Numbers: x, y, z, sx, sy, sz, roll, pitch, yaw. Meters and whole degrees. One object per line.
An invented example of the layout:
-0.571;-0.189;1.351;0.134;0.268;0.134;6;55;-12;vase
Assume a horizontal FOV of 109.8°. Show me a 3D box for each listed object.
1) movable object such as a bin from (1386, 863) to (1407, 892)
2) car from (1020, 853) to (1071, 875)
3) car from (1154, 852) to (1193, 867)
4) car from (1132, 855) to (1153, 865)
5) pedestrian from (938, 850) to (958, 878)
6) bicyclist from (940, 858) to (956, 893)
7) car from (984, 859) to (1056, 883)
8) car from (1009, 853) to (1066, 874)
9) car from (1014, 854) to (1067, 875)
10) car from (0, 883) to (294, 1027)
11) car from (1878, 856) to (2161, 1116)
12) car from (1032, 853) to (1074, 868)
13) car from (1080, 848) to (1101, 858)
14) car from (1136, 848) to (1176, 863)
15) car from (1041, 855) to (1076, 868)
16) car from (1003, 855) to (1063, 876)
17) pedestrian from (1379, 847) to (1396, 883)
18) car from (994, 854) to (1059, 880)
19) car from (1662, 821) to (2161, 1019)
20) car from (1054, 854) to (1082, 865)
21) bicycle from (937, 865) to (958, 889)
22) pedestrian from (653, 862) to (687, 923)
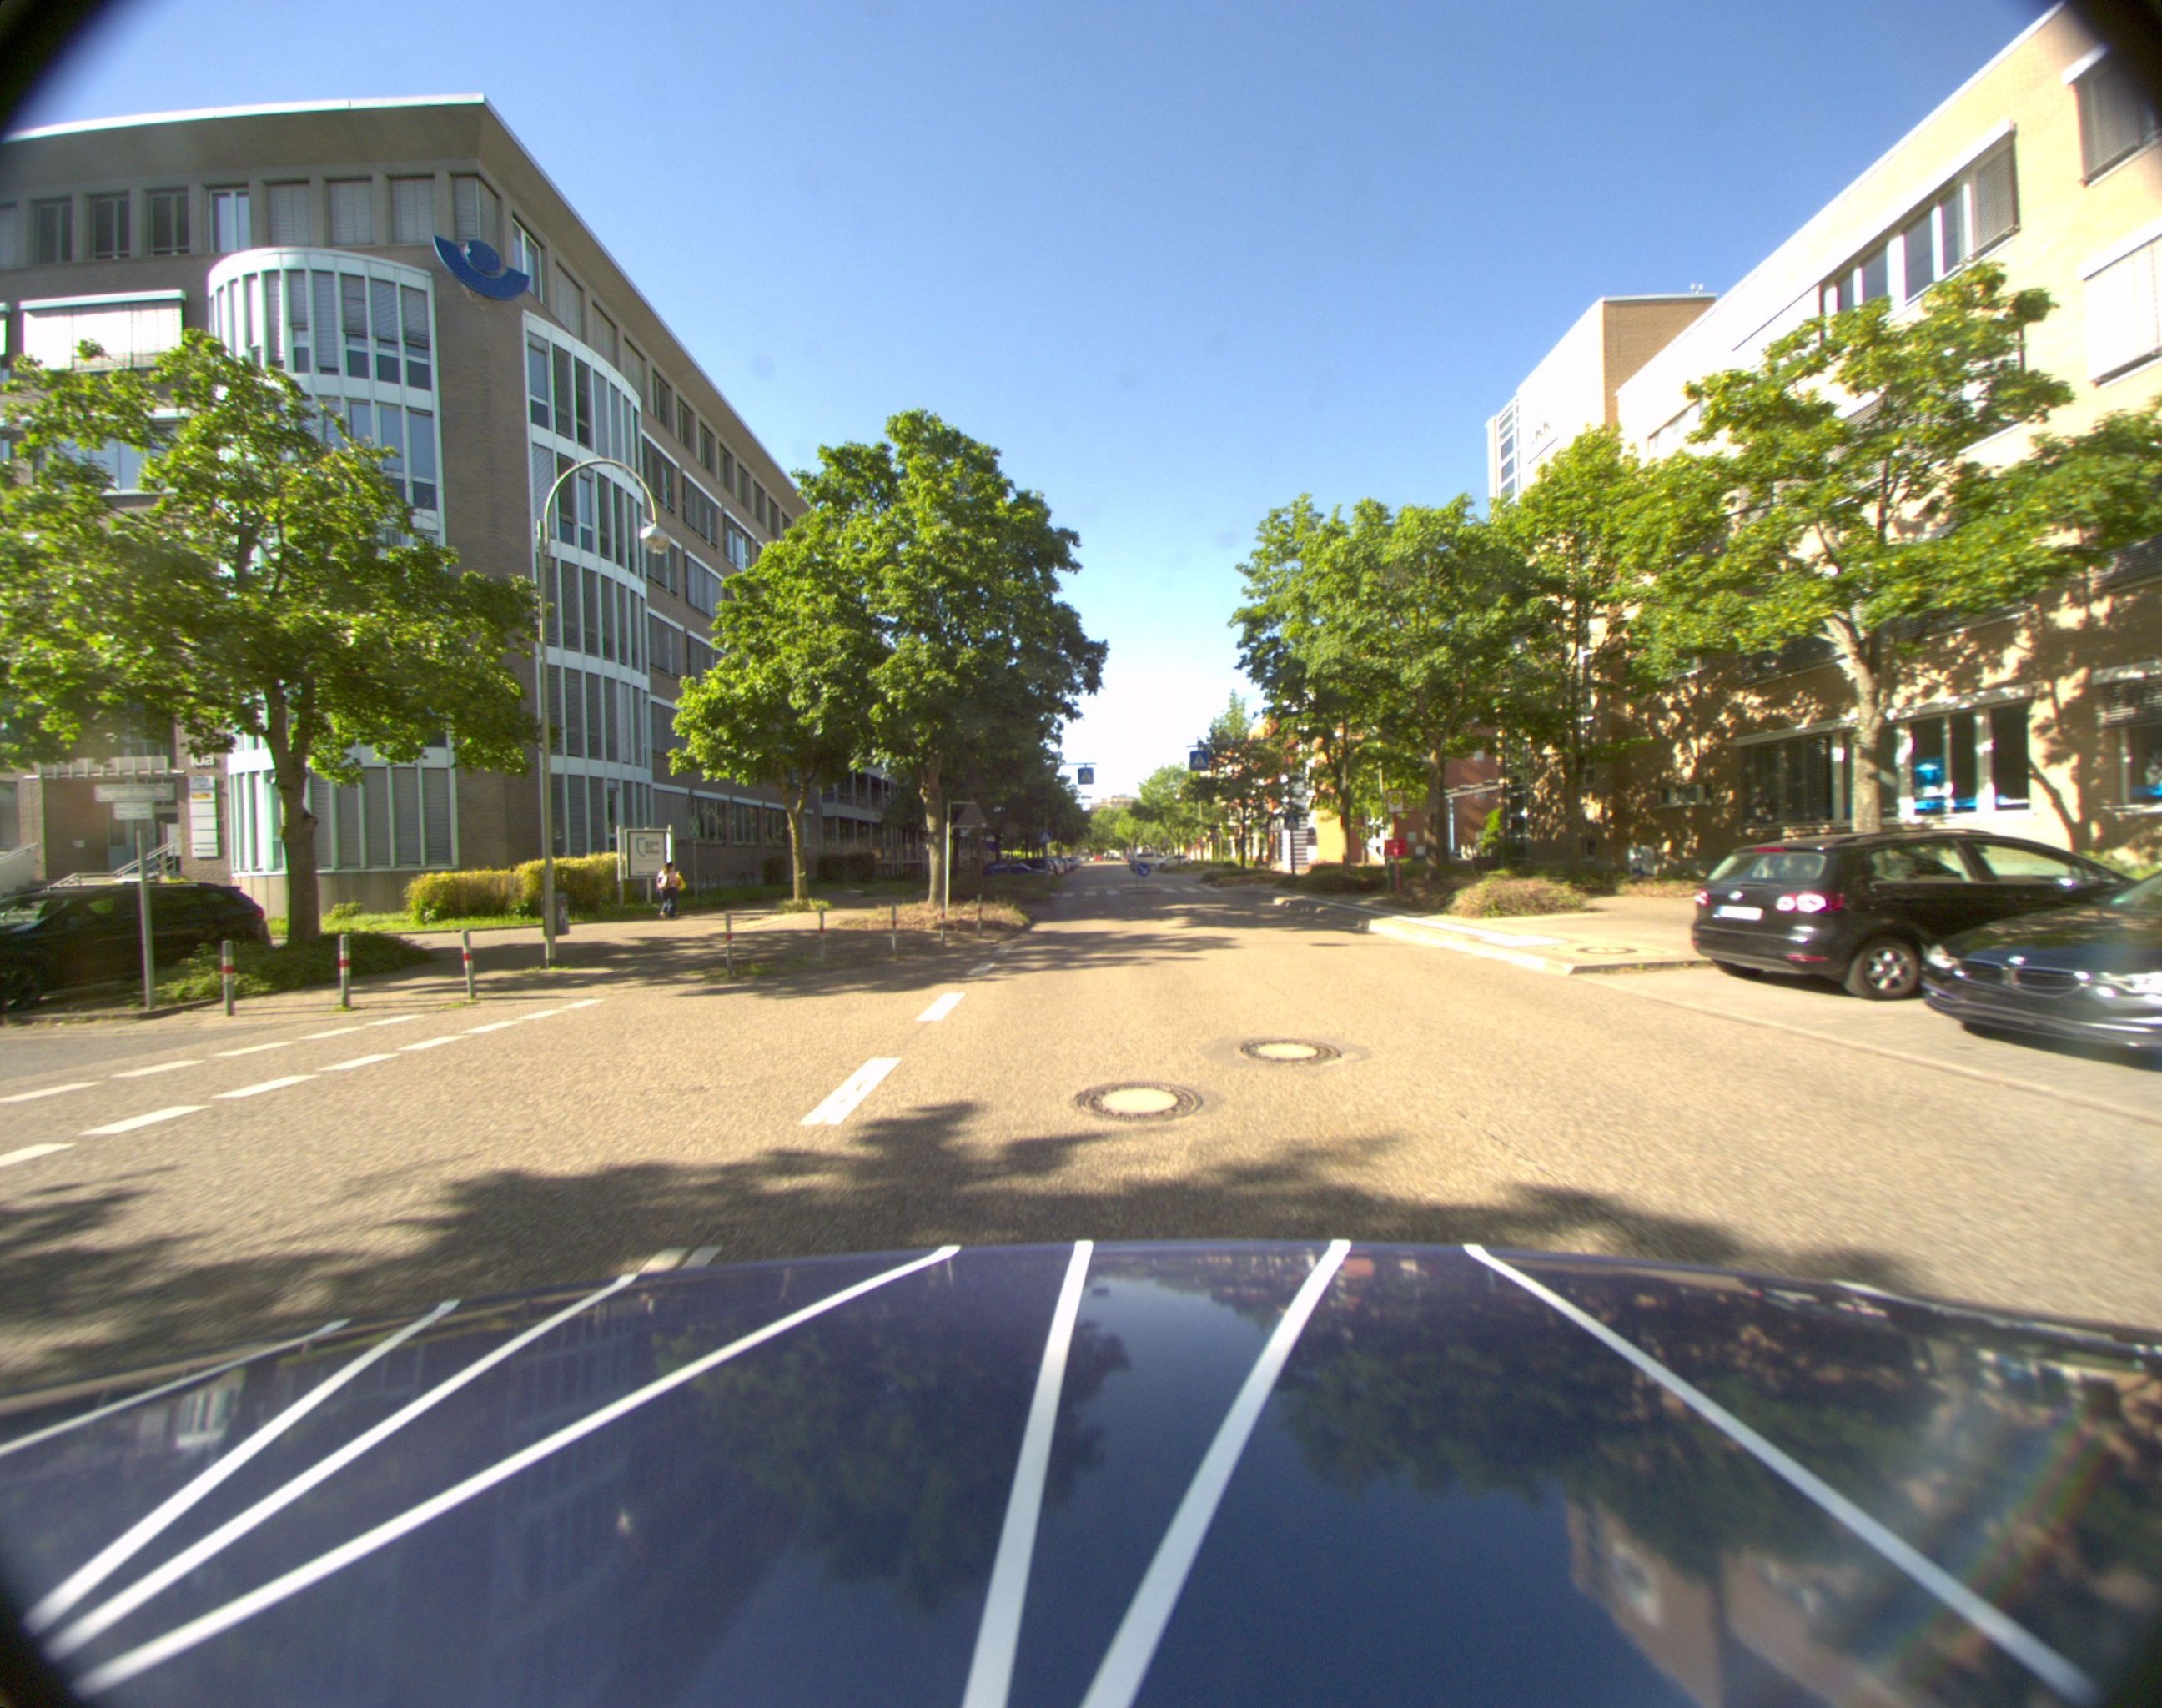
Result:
8.375;0.627;20.180;0.442;0.727;0.408;-3;1;13;movable object such as a bin
-2.940;0.840;62.908;4.136;1.657;1.907;-2;0;-3;car
10.017;0.628;82.614;4.003;1.411;1.618;-3;1;0;car
10.601;0.988;130.162;3.451;1.619;1.594;-1;1;1;car
-8.699;0.633;49.667;1.037;1.788;1.018;-3;1;0;pedestrian
-6.285;1.029;35.990;0.538;1.627;0.822;-2;1;2;bicyclist
-3.540;1.004;44.531;4.126;1.362;1.654;0;0;-3;car
-3.237;0.677;56.316;4.136;1.508;1.836;-1;0;-3;car
-3.136;0.828;59.770;3.996;1.575;1.714;-1;1;2;car
-14.711;1.410;11.136;1.742;1.557;4.363;-3;2;-1;car
8.438;0.721;5.121;4.162;1.394;1.801;-4;0;0;car
-2.809;0.630;76.898;3.995;1.486;1.714;0;1;4;car
1.575;-0.150;130.825;3.554;1.544;1.743;0;-2;-2;car
10.300;0.221;104.975;5.317;1.875;2.000;-1;1;2;car
-2.495;0.815;85.358;3.916;1.374;1.586;0;2;-2;car
-3.383;0.794;53.442;4.136;1.452;1.660;0;1;-3;car
17.317;0.594;42.956;0.623;1.911;0.670;-3;13;2;pedestrian
-3.518;0.828;49.195;4.136;1.581;1.659;0;1;-3;car
8.704;0.597;7.852;3.997;1.561;1.728;-4;0;0;car
-1.851;0.723;107.327;3.998;1.471;1.804;-1;1;-2;car
-6.282;1.070;35.873;0.535;1.072;1.920;-2;0;2;bicycle
-10.845;1.001;20.074;0.539;1.573;0.648;-2;0;-8;pedestrian
